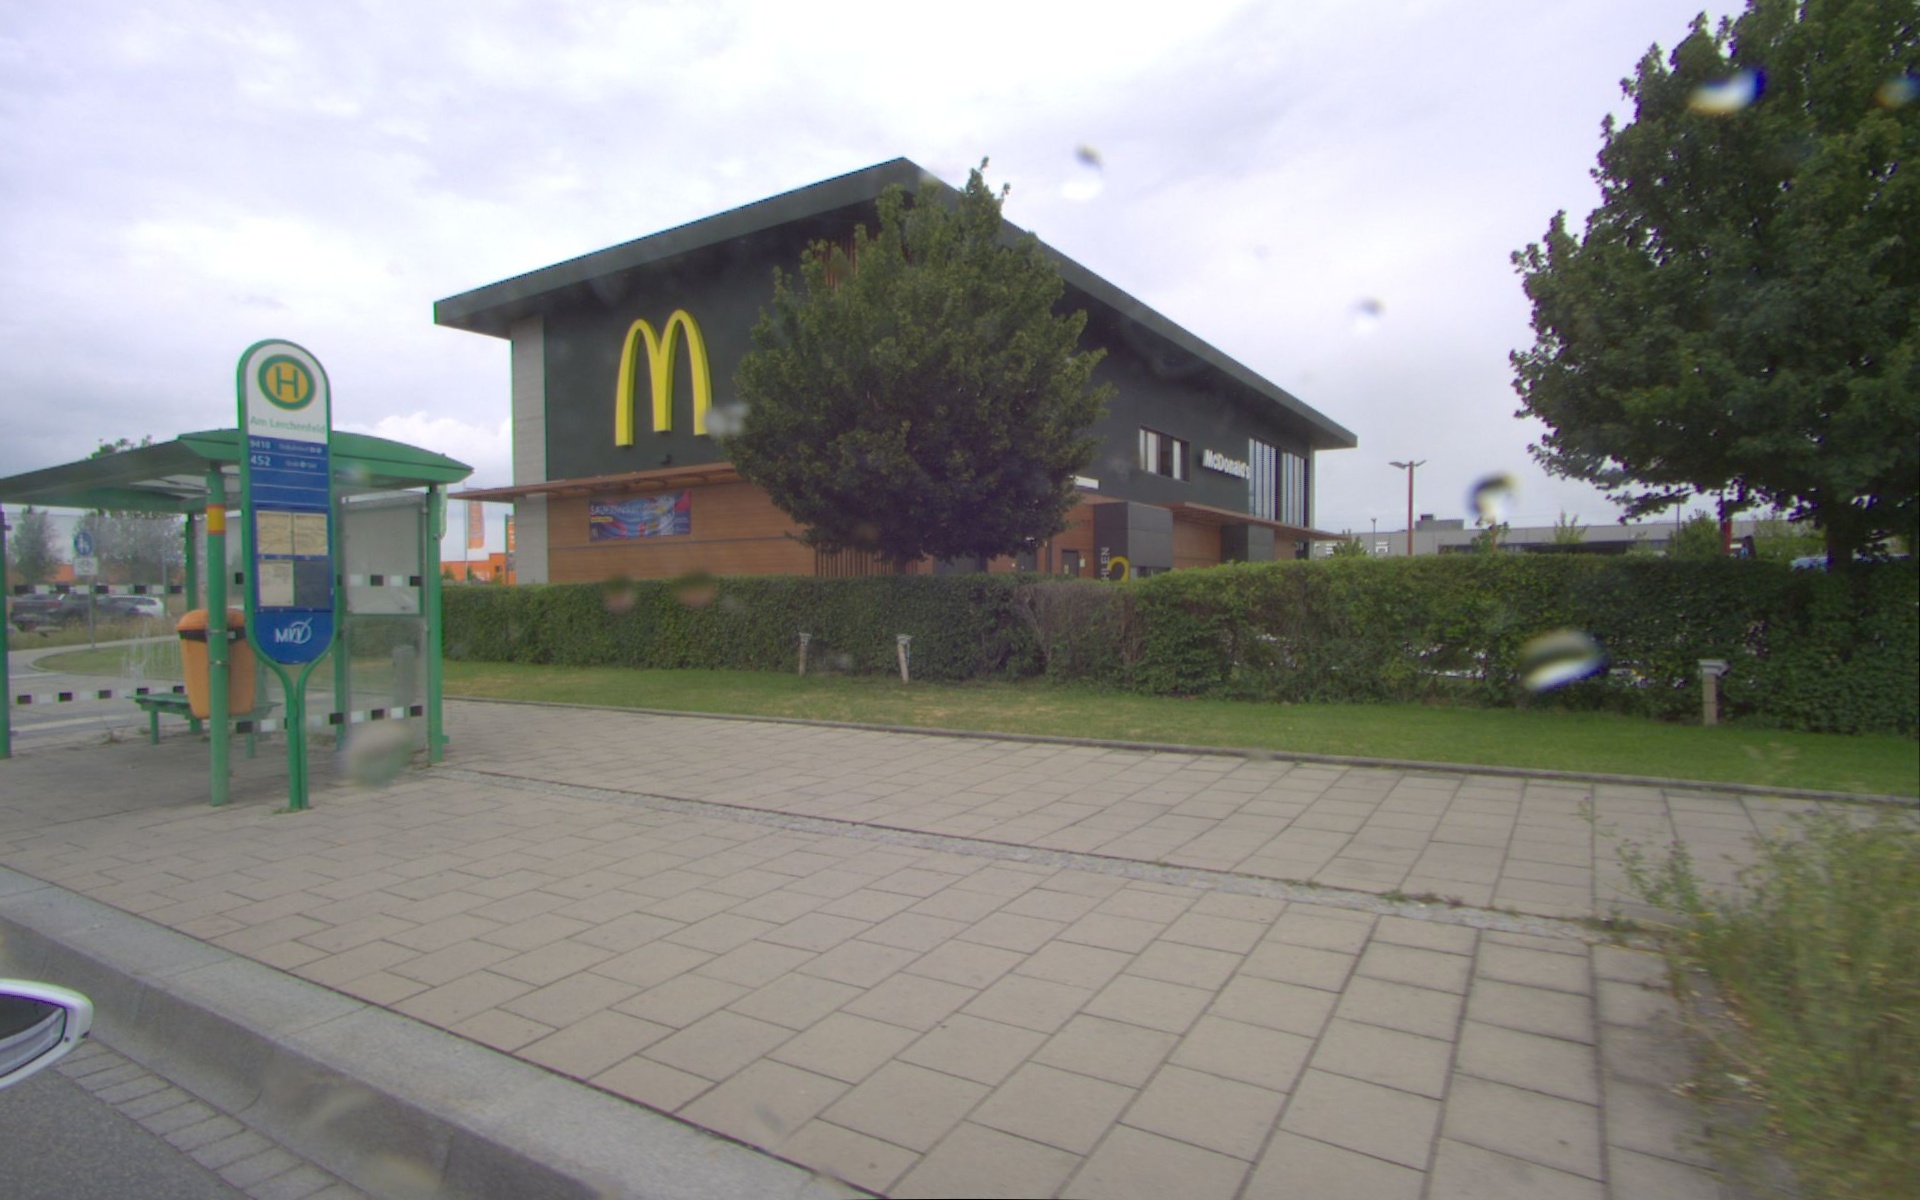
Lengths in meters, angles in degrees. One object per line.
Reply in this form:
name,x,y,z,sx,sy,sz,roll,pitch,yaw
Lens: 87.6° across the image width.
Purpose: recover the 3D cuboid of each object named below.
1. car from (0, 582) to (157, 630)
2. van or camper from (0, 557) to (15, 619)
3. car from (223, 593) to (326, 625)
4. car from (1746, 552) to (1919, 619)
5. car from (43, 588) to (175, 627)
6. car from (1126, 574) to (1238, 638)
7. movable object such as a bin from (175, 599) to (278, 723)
car,-32.293,0.178,36.780,2.025,1.614,4.201,0,1,4
van or camper,-42.128,-0.491,41.411,5.113,2.539,2.306,0,0,18
car,-36.172,0.485,52.907,1.973,1.625,4.086,0,0,35
car,35.257,-0.578,40.217,5.931,2.562,2.280,0,1,-7
car,-40.258,0.357,47.437,1.978,1.780,4.577,0,0,43
car,6.576,0.176,29.389,1.972,1.739,3.978,0,0,33
movable object such as a bin,-4.990,0.403,6.820,0.374,0.808,0.455,0,0,32
